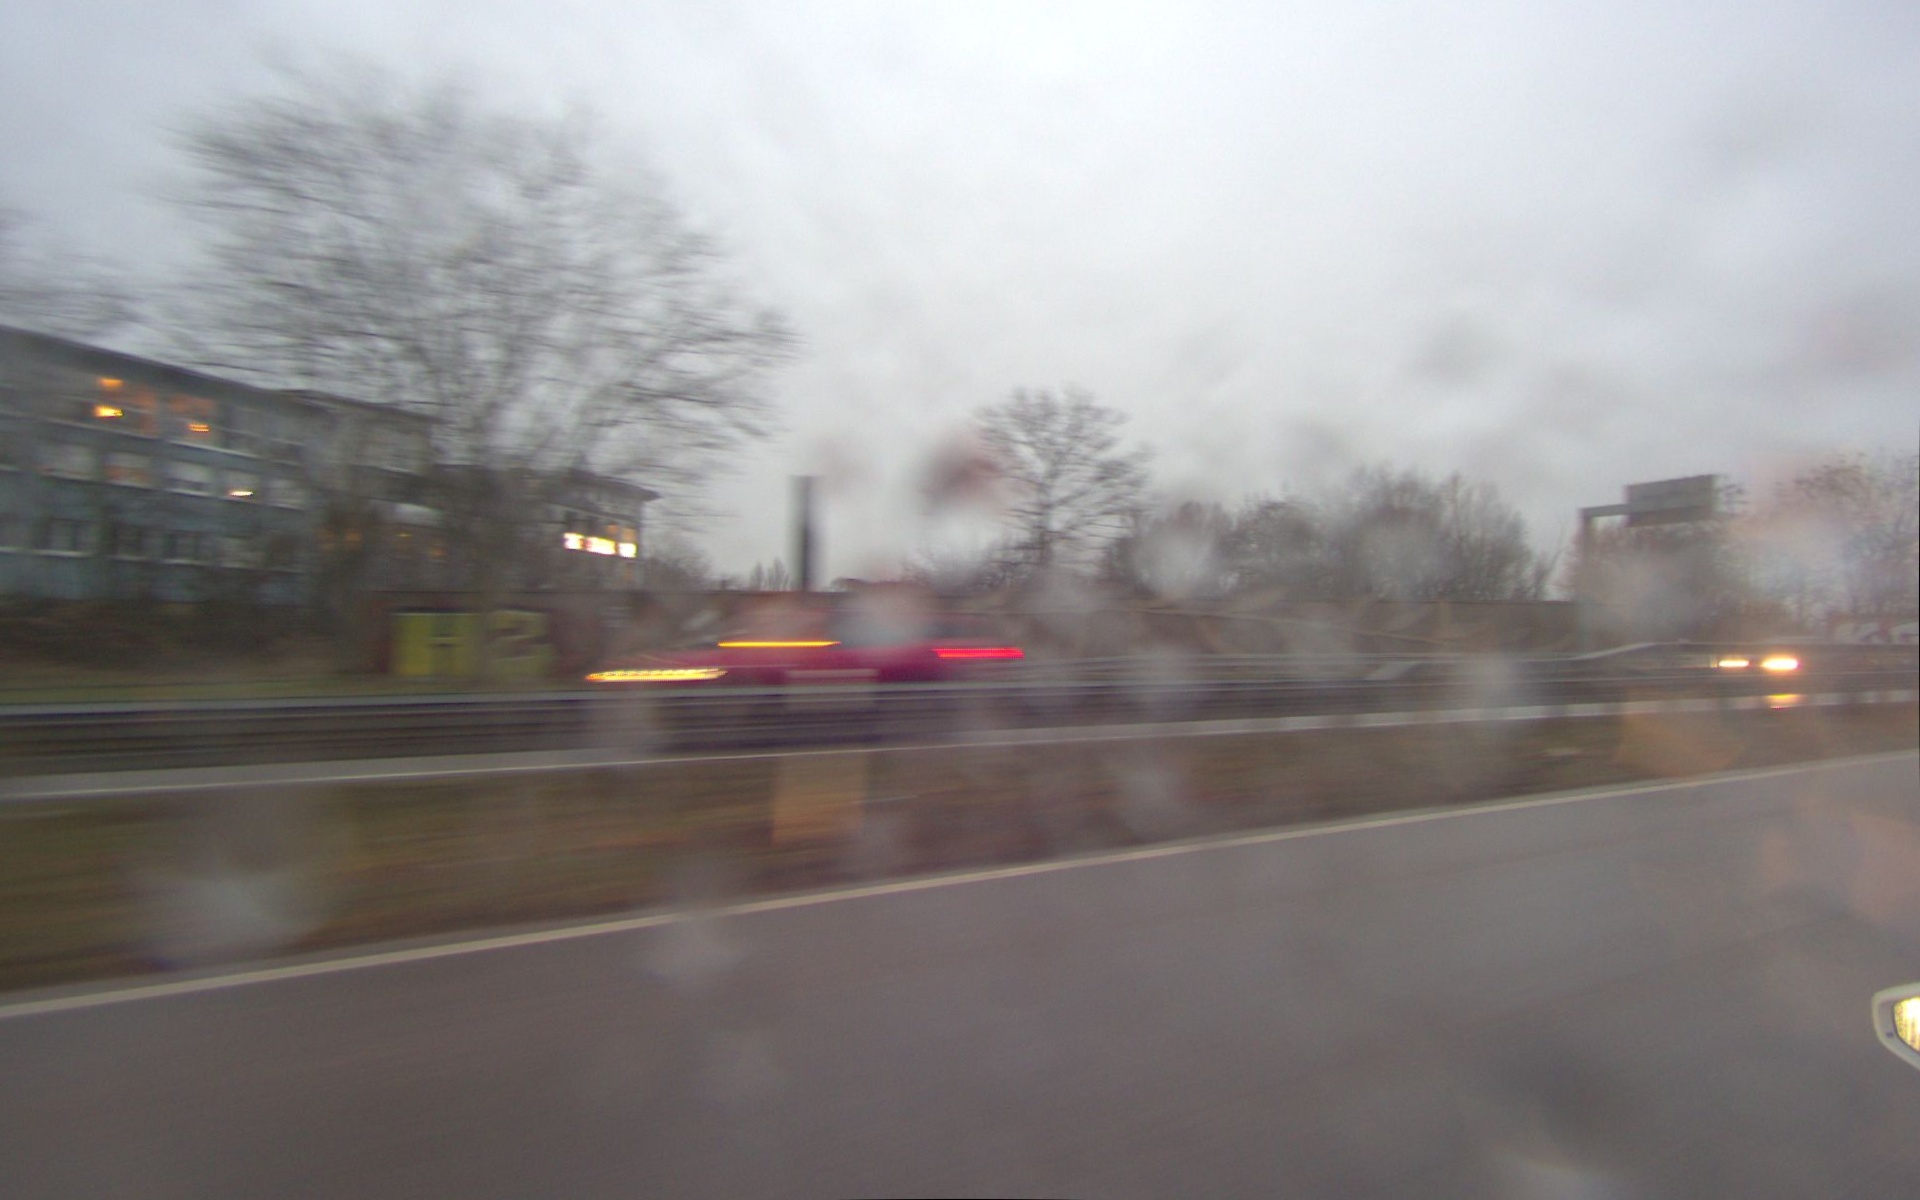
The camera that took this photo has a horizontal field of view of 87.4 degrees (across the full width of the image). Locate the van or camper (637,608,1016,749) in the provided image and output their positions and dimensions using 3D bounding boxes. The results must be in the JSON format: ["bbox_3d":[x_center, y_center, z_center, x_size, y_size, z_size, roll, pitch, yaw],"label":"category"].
[{"bbox_3d":[-1.596,0.889,12.347,4.373,1.501,1.522,1,-1,-25],"label":"van or camper"}]

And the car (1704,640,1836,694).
[{"bbox_3d":[23.471,1.898,29.098,3.593,1.428,1.748,1,-1,-28],"label":"car"}]
